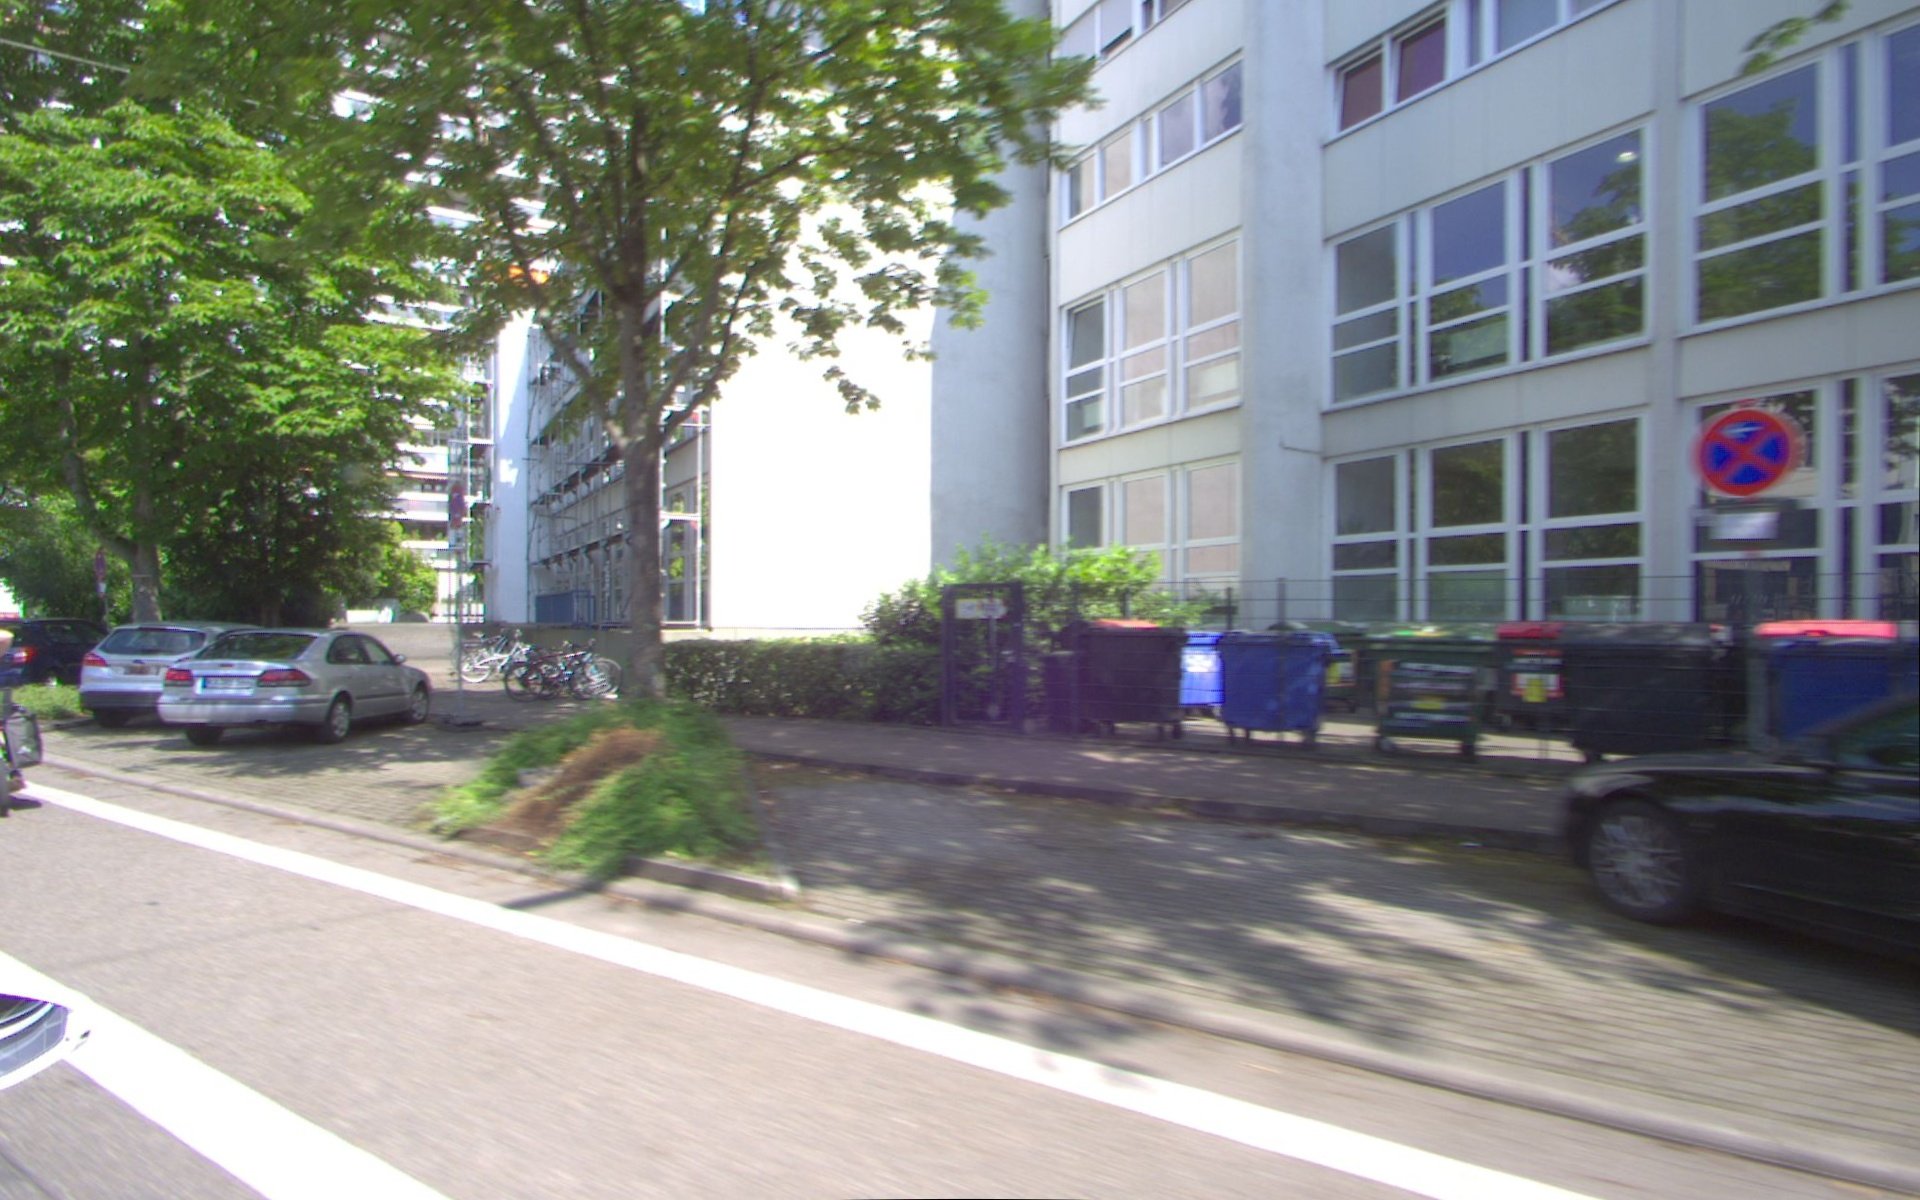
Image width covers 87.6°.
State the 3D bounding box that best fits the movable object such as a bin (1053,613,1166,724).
[{"bbox_3d":[2.128,0.957,14.291,1.250,1.500,0.932,2,-1,-30],"label":"movable object such as a bin"}]

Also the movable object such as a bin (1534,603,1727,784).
[{"bbox_3d":[6.353,0.835,9.583,1.449,1.559,1.273,0,-1,33],"label":"movable object such as a bin"}]

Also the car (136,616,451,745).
[{"bbox_3d":[-8.649,0.960,13.515,1.690,1.438,4.243,1,-1,-5],"label":"car"}]

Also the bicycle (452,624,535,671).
[{"bbox_3d":[-11.429,1.150,24.555,1.805,1.110,0.449,1,1,-27],"label":"bicycle"}]

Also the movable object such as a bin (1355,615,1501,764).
[{"bbox_3d":[5.041,0.933,10.842,1.330,1.455,1.276,1,-2,25],"label":"movable object such as a bin"}]

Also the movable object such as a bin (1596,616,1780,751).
[{"bbox_3d":[8.597,0.944,11.857,1.194,1.474,1.444,1,-2,-34],"label":"movable object such as a bin"}]

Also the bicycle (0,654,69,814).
[{"bbox_3d":[-8.097,1.044,8.172,2.109,1.140,0.872,0,-2,39],"label":"bicycle"}]

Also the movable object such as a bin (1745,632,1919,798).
[{"bbox_3d":[7.813,0.954,8.794,1.307,1.335,1.273,0,-2,32],"label":"movable object such as a bin"}]

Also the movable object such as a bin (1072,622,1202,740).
[{"bbox_3d":[2.206,0.972,12.397,1.218,1.352,1.274,0,-3,31],"label":"movable object such as a bin"}]

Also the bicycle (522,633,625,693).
[{"bbox_3d":[-7.655,1.231,19.865,1.873,1.110,0.449,-1,1,-27],"label":"bicycle"}]

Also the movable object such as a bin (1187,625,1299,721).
[{"bbox_3d":[4.406,1.094,15.602,1.201,1.356,1.252,-2,1,-42],"label":"movable object such as a bin"}]

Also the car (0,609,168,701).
[{"bbox_3d":[-16.829,0.941,18.699,1.586,1.506,3.995,0,0,-13],"label":"car"}]

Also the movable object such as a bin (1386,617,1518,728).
[{"bbox_3d":[7.132,0.998,14.533,1.362,1.467,1.254,-2,1,-36],"label":"movable object such as a bin"}]

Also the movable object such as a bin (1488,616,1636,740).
[{"bbox_3d":[7.914,0.972,13.182,1.362,1.467,1.254,-2,1,-36],"label":"movable object such as a bin"}]

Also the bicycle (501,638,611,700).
[{"bbox_3d":[-7.580,1.270,18.811,1.873,1.067,0.449,-1,1,-27],"label":"bicycle"}]

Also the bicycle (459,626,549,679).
[{"bbox_3d":[-10.257,1.169,22.549,1.804,1.111,0.449,-1,3,-27],"label":"bicycle"}]

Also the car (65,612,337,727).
[{"bbox_3d":[-11.228,0.983,15.174,1.621,1.493,3.804,2,-2,-9],"label":"car"}]

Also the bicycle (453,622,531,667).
[{"bbox_3d":[-11.961,1.116,25.616,1.805,1.110,0.449,0,1,-27],"label":"bicycle"}]

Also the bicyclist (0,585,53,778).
[{"bbox_3d":[-8.194,0.656,8.245,1.072,1.548,0.886,-1,-2,39],"label":"bicyclist"}]

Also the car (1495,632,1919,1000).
[{"bbox_3d":[4.789,0.881,4.228,1.994,1.460,4.534,1,-3,-13],"label":"car"}]

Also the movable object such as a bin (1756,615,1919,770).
[{"bbox_3d":[9.471,0.914,10.655,1.362,1.467,1.254,-2,1,-36],"label":"movable object such as a bin"}]

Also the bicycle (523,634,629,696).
[{"bbox_3d":[-7.437,1.246,19.417,1.873,1.110,0.449,-1,1,-27],"label":"bicycle"}]

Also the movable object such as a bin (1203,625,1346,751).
[{"bbox_3d":[3.675,0.986,11.656,1.339,1.353,1.274,0,-2,31],"label":"movable object such as a bin"}]
